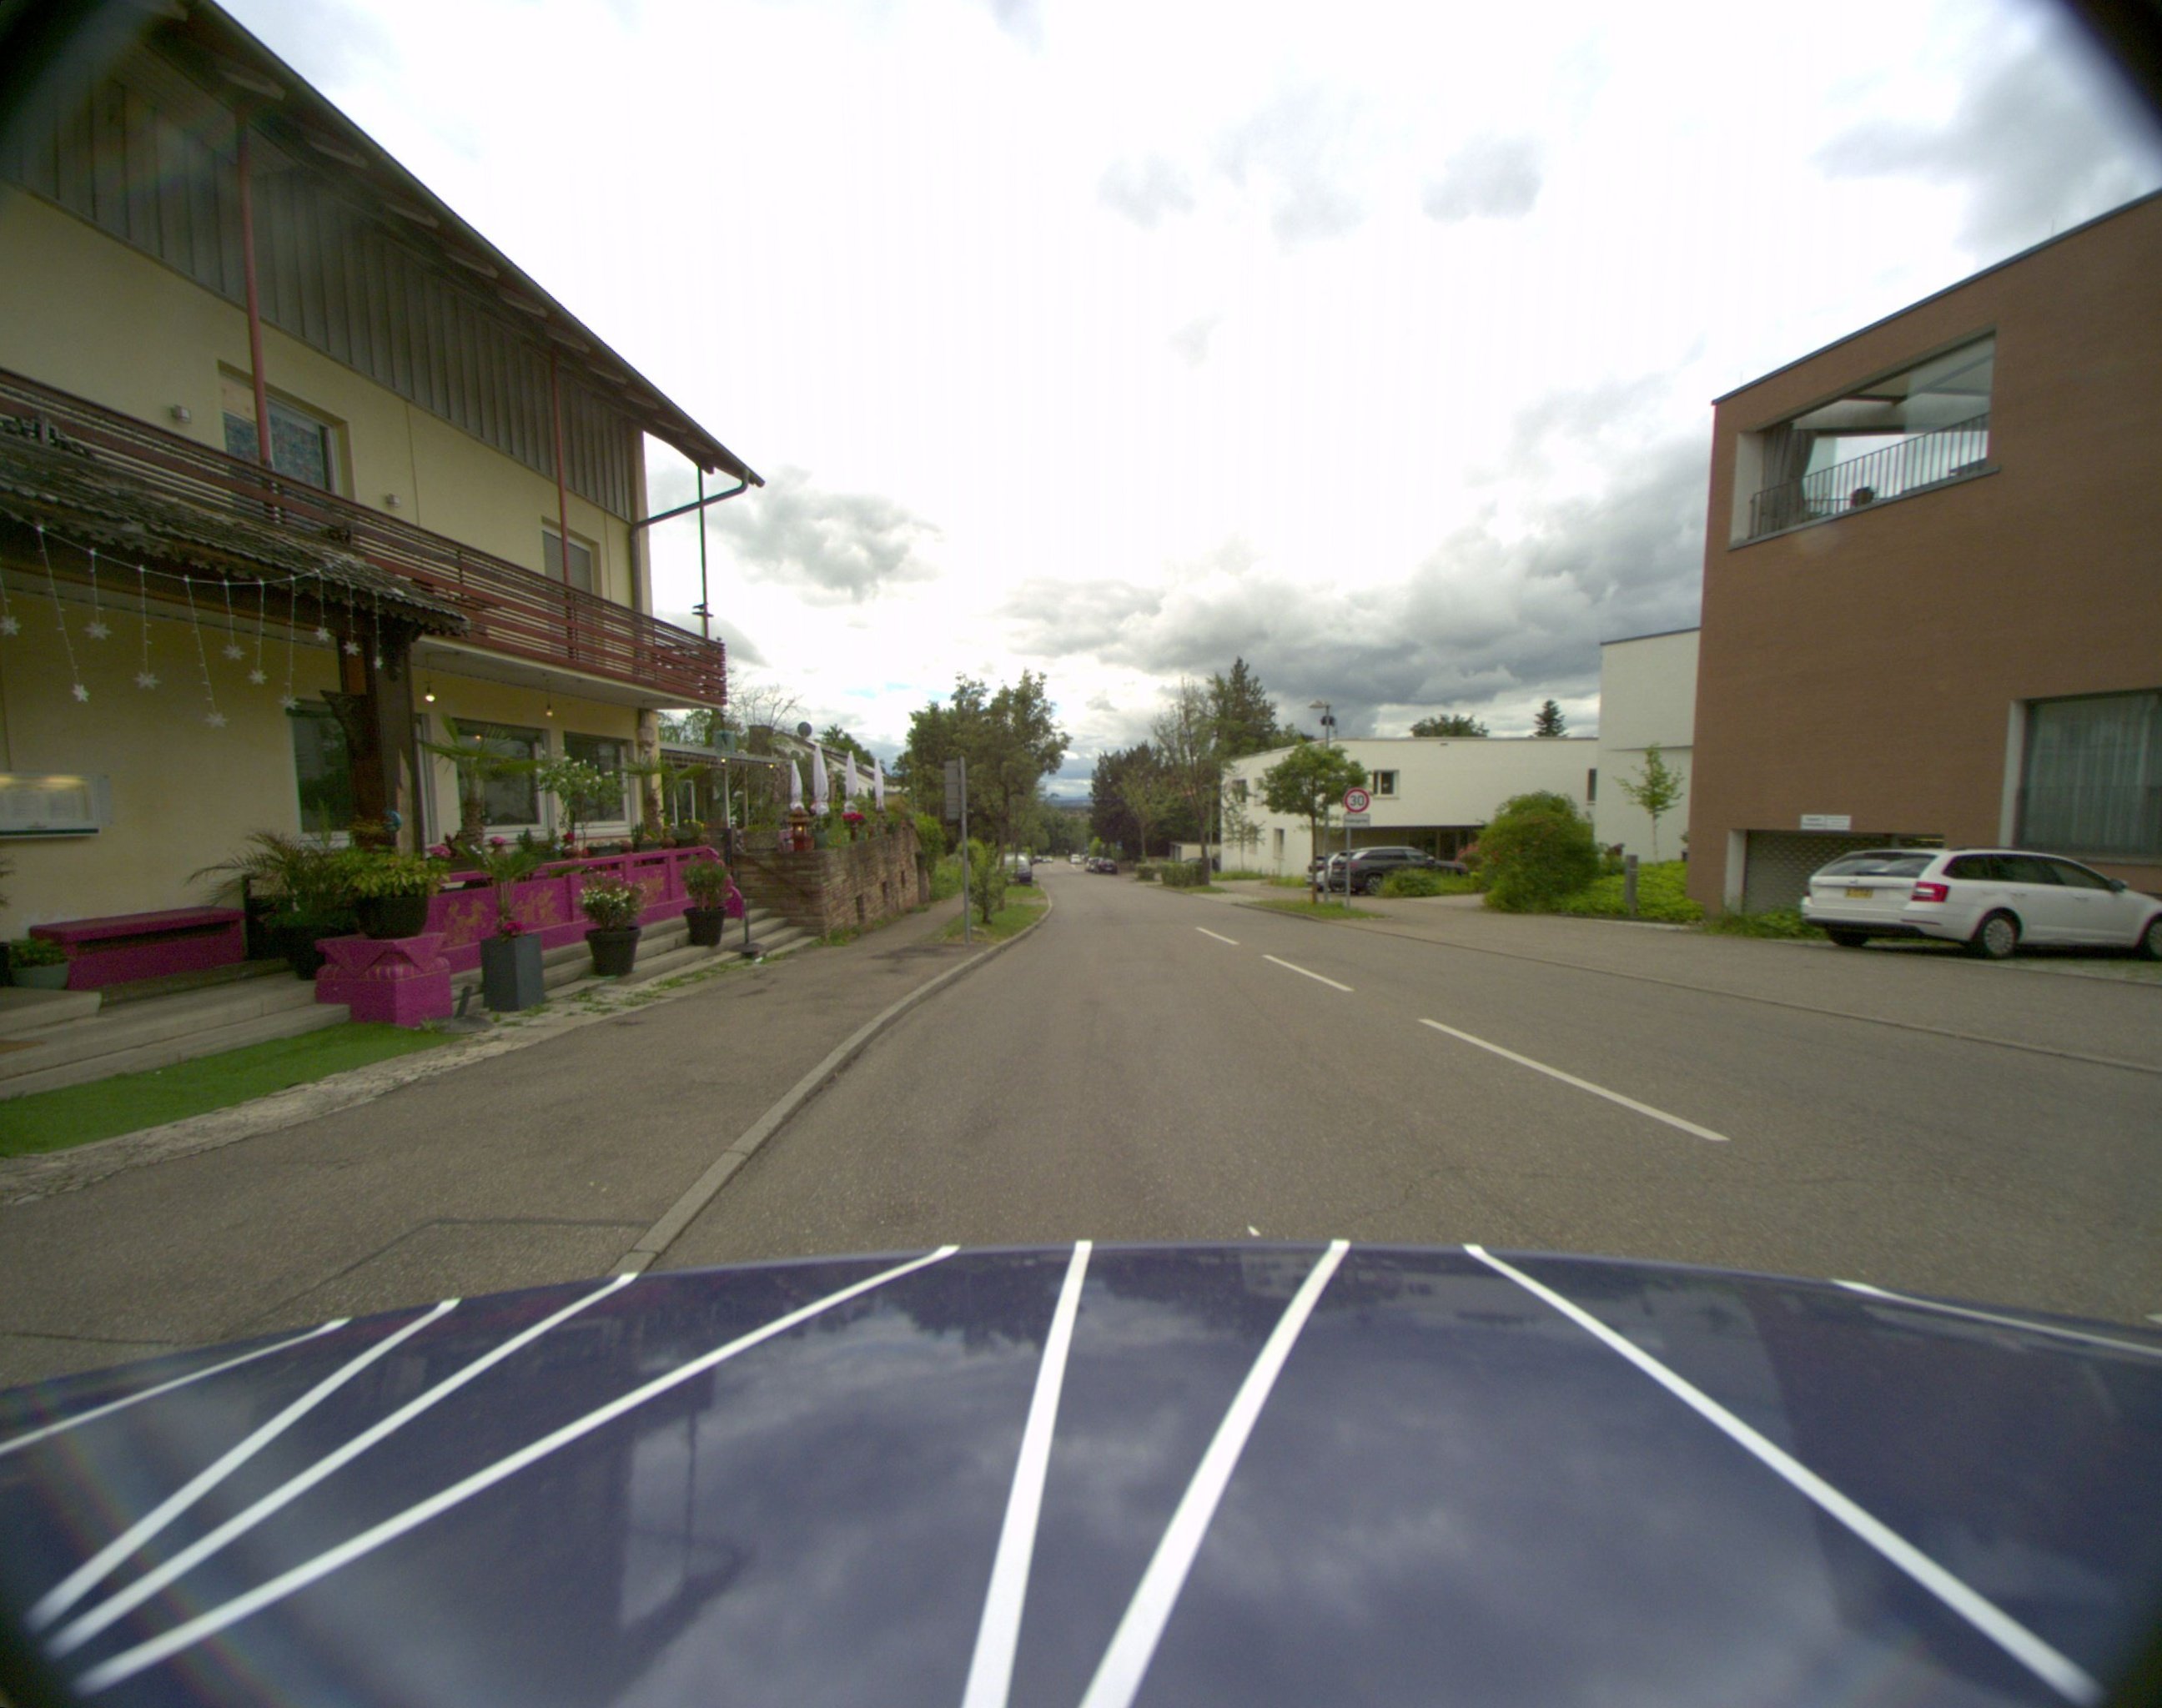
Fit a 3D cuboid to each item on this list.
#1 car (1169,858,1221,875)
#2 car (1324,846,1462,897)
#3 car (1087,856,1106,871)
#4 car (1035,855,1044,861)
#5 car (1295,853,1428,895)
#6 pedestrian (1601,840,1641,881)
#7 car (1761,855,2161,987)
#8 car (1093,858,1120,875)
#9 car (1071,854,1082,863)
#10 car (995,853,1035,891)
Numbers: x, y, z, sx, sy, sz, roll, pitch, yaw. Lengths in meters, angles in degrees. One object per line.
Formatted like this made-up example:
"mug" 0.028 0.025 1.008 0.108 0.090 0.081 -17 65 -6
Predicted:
"car" 9.144 1.001 61.195 3.807 1.346 1.740 -1 0 -10
"car" 10.907 0.577 26.747 3.998 1.644 2.008 -1 0 -4
"car" 1.558 0.935 78.248 1.629 1.510 2.973 0 1 -6
"car" -9.461 0.894 172.728 1.999 1.221 3.999 -1 0 -1
"car" 10.814 0.737 29.527 4.400 1.557 2.065 0 0 -6
"pedestrian" 17.700 0.207 24.931 0.608 1.276 0.899 -2 1 -5
"car" 12.564 0.865 10.780 4.273 1.614 2.012 0 1 -7
"car" 2.310 1.112 70.194 1.856 1.461 4.680 0 0 -6
"car" -0.733 0.723 127.073 1.694 1.411 3.579 2 0 -1
"car" -3.427 0.880 39.722 1.942 1.827 5.216 -1 0 -4
